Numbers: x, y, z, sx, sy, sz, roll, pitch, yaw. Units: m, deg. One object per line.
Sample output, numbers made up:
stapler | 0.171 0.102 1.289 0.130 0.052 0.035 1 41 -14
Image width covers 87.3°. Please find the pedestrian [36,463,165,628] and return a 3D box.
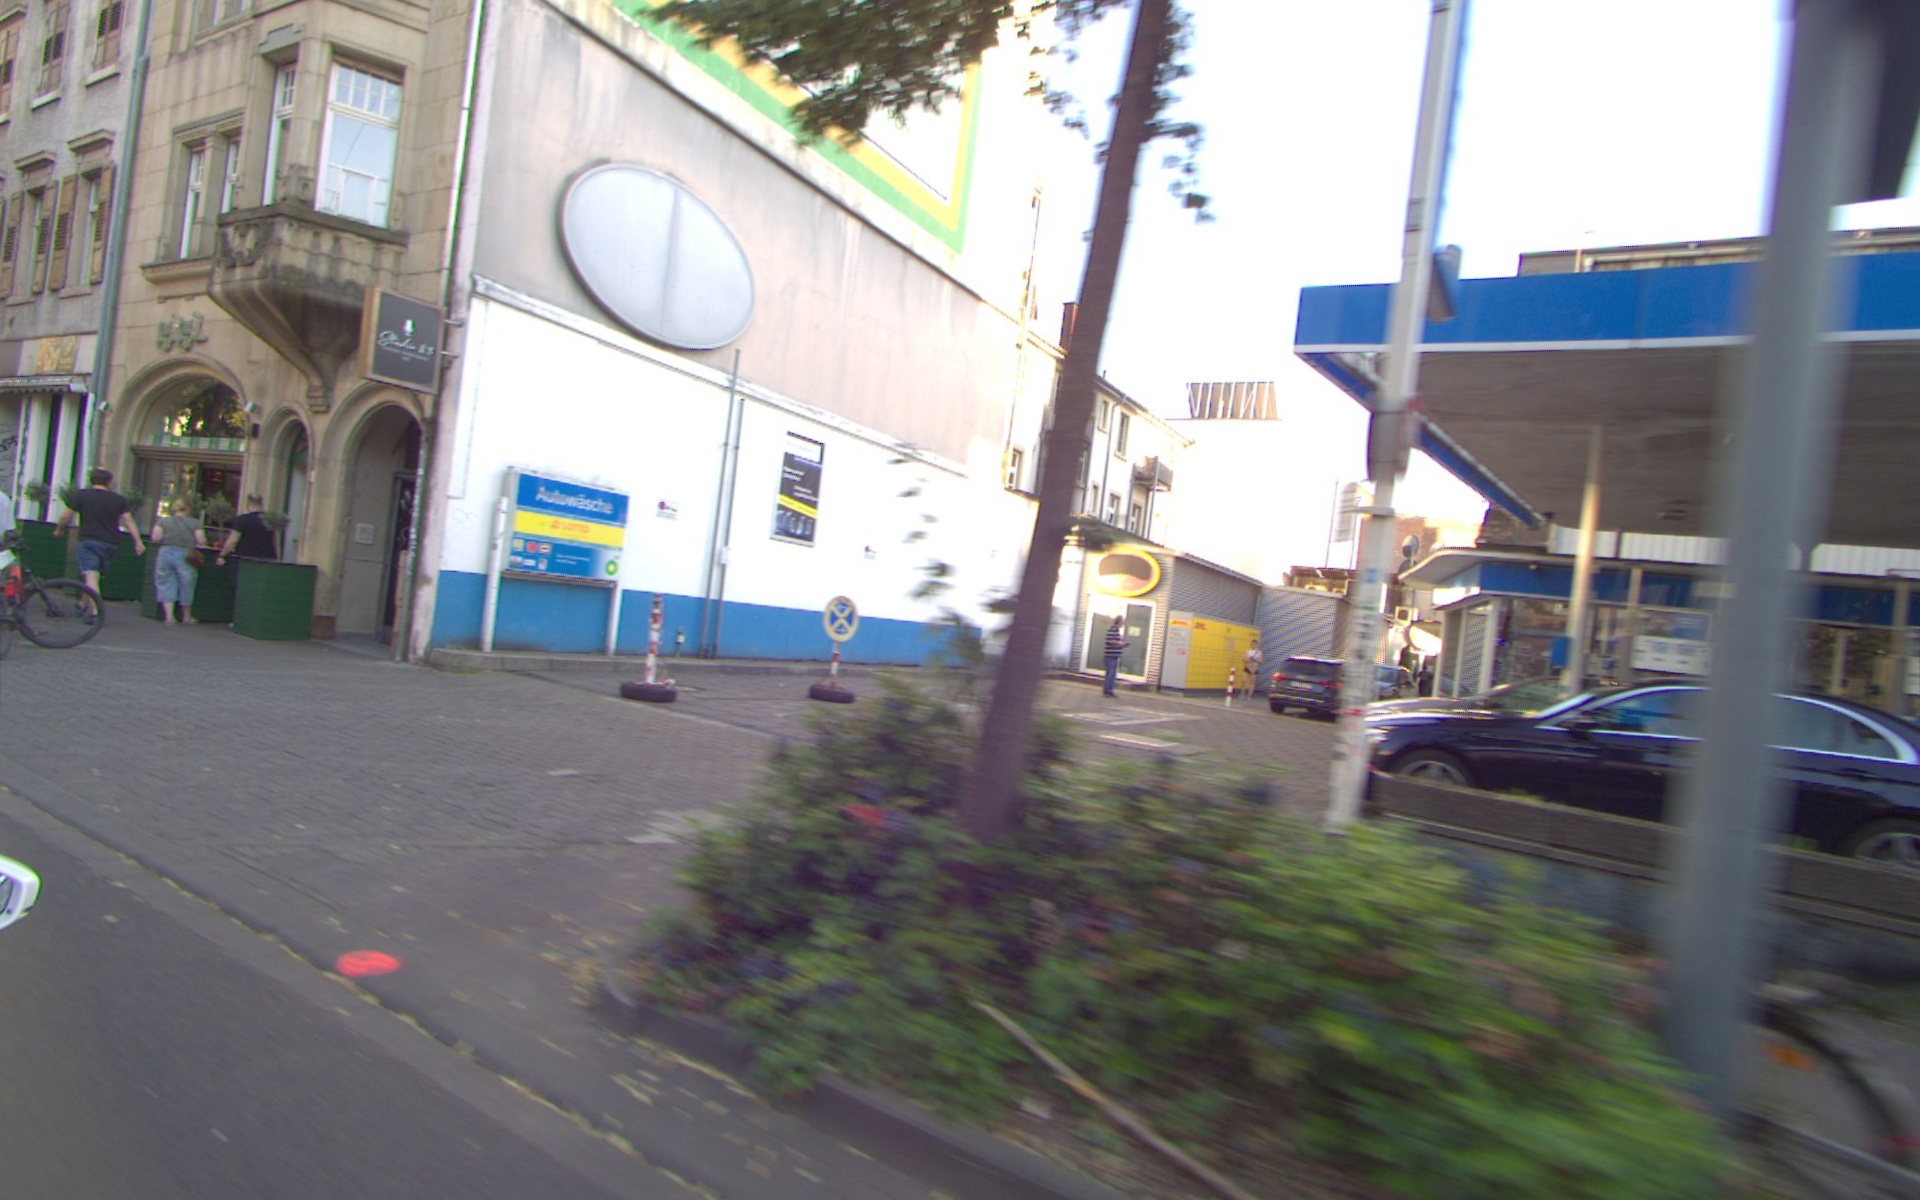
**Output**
pedestrian | -10.560 -0.659 12.363 1.079 1.878 0.823 7 2 31

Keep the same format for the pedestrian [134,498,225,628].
pedestrian | -10.161 -0.475 13.094 0.690 1.583 0.659 7 2 32

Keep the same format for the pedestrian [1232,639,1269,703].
pedestrian | 8.107 1.981 28.050 0.637 1.674 0.691 8 1 31

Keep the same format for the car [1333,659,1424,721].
car | 12.025 2.561 28.779 1.703 1.461 3.896 7 -1 31

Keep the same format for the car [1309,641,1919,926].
car | 5.531 1.334 8.042 4.828 1.448 1.736 6 0 32

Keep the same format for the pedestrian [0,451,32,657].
pedestrian | -9.111 -0.457 8.897 0.766 1.849 1.016 7 2 22

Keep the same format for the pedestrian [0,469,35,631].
pedestrian | -10.532 -0.564 10.722 0.657 1.722 0.651 6 2 -12

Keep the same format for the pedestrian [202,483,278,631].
pedestrian | -9.670 -0.567 13.516 0.492 1.898 0.461 7 1 17

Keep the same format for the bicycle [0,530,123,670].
bicycle | -8.797 -0.048 9.349 0.854 1.113 1.918 6 1 -19

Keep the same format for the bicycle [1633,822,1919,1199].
bicycle | 2.469 1.256 2.097 0.478 1.158 1.668 5 2 -27

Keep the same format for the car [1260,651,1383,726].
car | 8.804 2.119 24.307 1.871 1.418 4.228 7 -1 31

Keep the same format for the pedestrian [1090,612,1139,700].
pedestrian | 3.215 1.173 20.957 0.644 1.737 0.547 8 1 31

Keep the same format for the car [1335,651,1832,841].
car | 7.204 1.597 12.146 4.681 1.419 1.712 6 0 32
